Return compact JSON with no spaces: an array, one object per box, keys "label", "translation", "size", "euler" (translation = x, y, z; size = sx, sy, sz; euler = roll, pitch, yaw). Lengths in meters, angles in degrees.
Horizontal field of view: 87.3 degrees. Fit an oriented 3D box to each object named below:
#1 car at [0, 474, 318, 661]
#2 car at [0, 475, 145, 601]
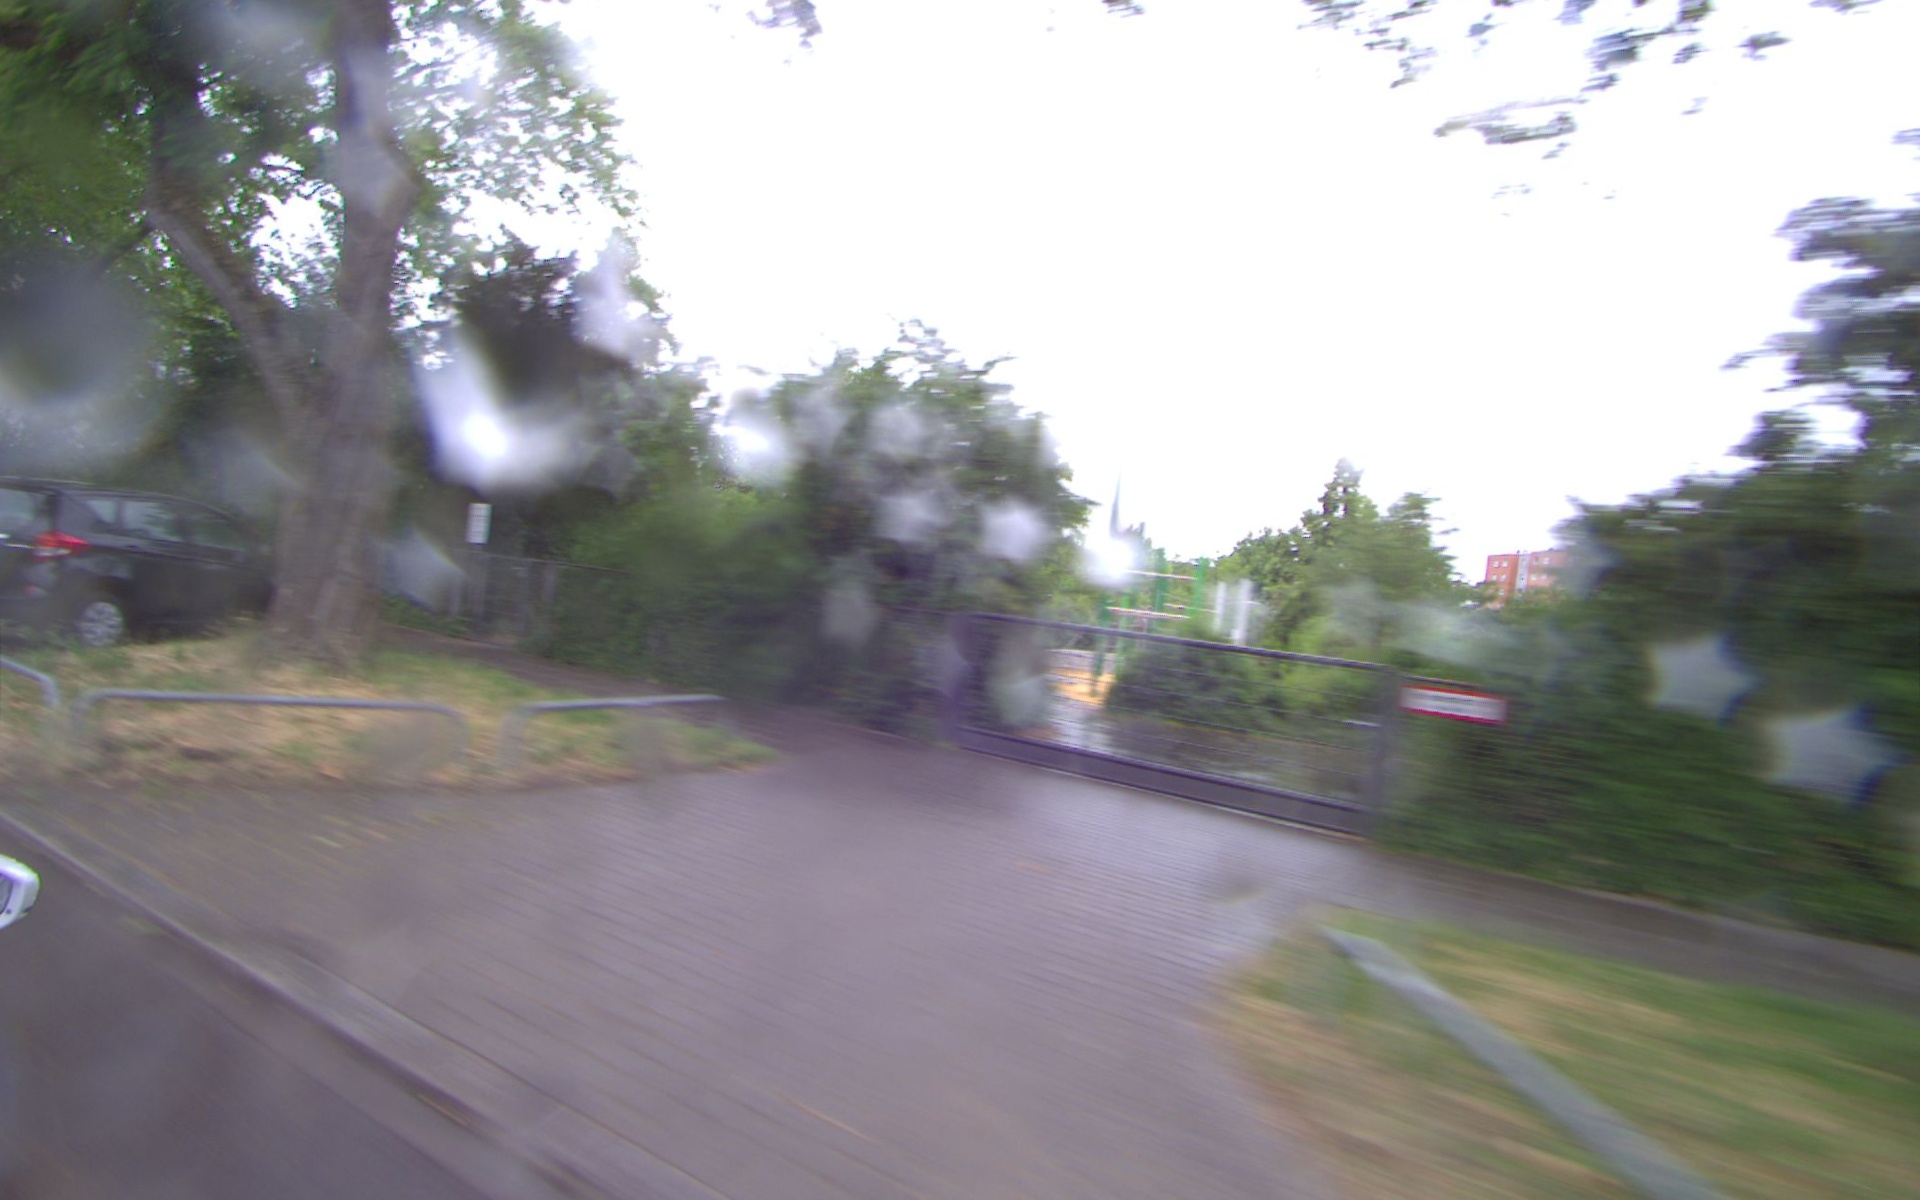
[{"label":"car","translation":[-8.793,-0.354,10.565],"size":[1.589,1.586,3.713],"euler":[7,0,-1]},{"label":"car","translation":[-13.815,-0.944,13.523],"size":[1.959,1.689,4.771],"euler":[7,0,-5]}]
